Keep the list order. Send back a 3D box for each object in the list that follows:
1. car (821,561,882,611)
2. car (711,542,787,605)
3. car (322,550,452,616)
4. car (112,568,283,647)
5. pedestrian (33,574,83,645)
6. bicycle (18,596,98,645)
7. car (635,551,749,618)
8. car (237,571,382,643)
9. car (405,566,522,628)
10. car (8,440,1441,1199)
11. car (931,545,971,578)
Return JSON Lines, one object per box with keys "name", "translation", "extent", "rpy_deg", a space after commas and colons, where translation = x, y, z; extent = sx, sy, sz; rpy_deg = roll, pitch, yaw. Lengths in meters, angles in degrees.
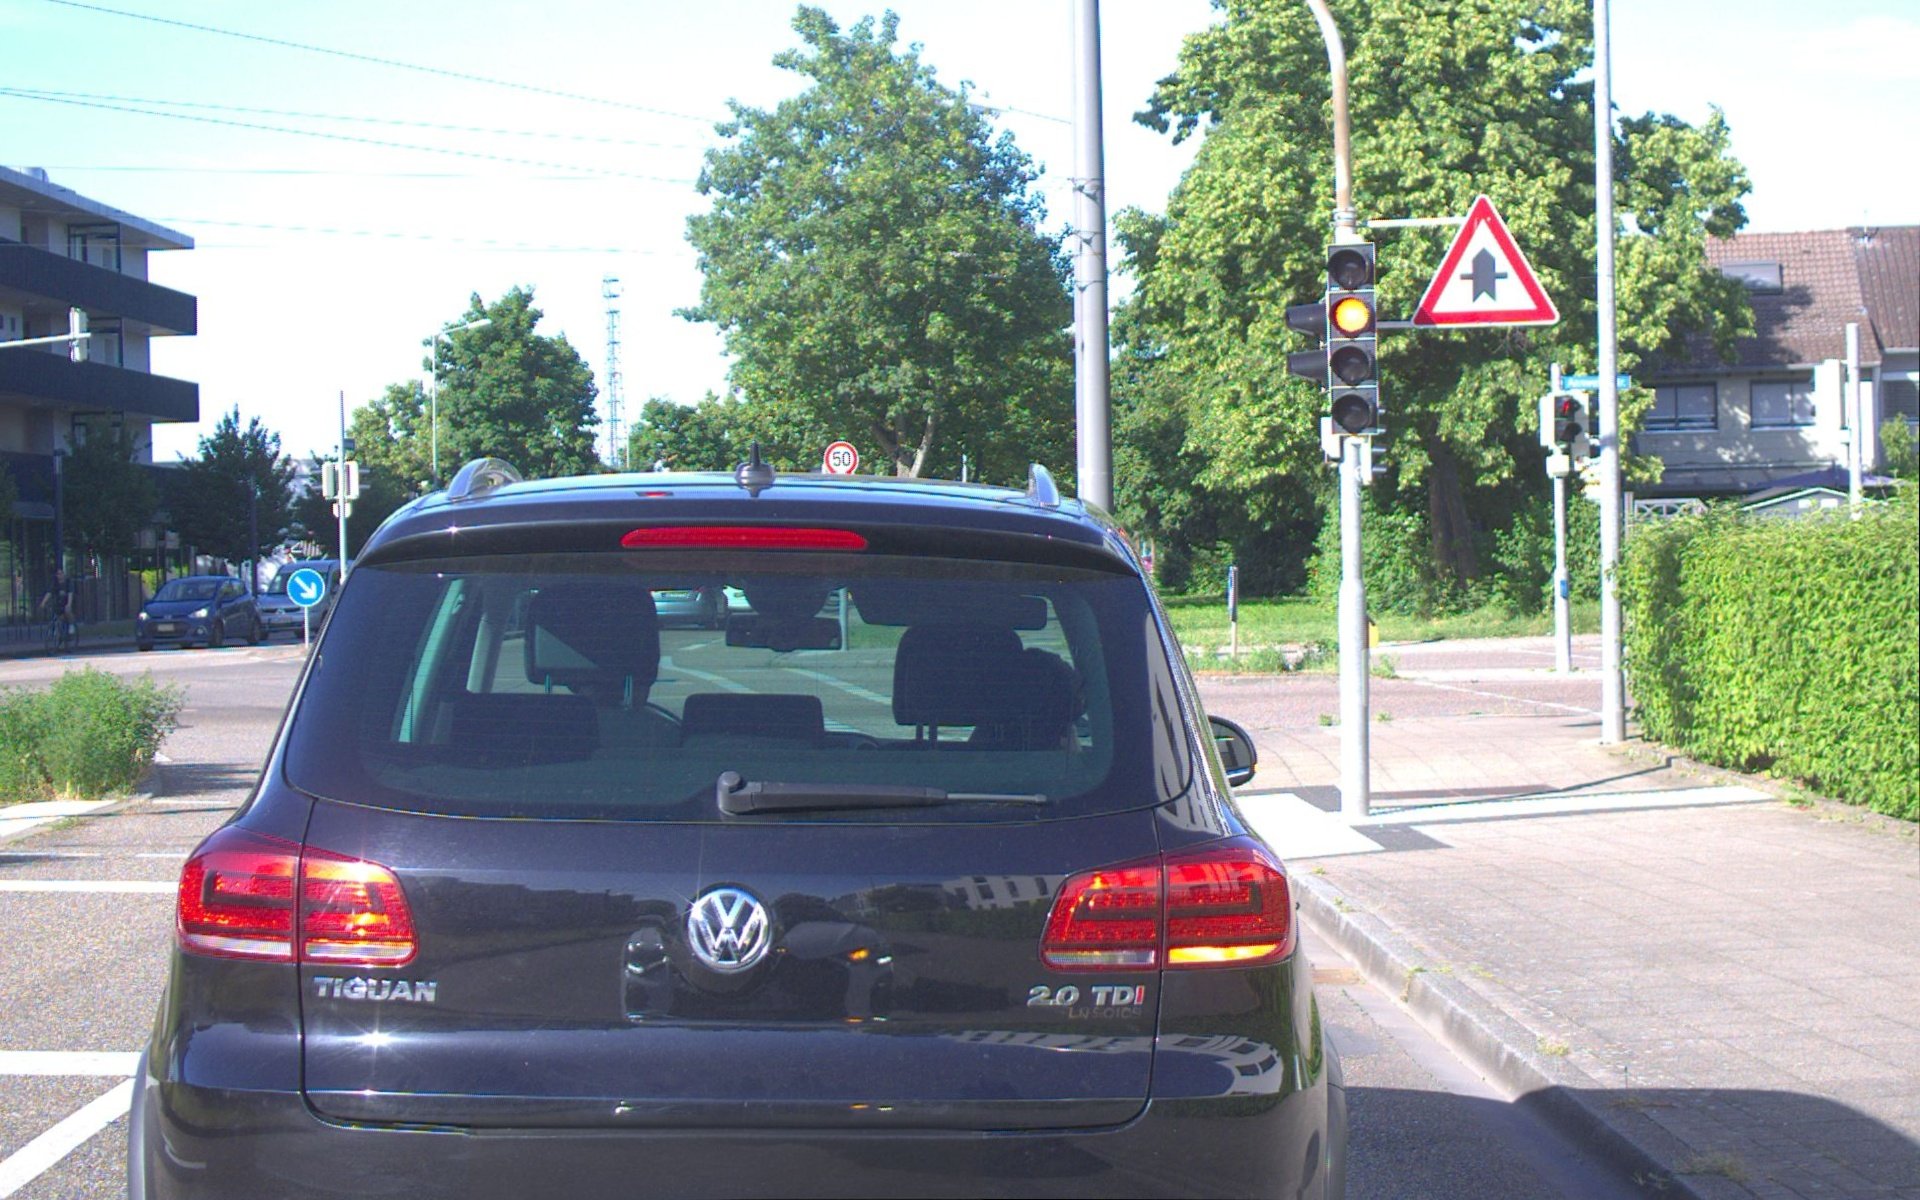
{"name": "car", "translation": [-4.075, -0.554, 129.653], "extent": [1.994, 1.830, 4.000], "rpy_deg": [1, 1, 3]}
{"name": "car", "translation": [-6.021, -0.773, 98.476], "extent": [1.864, 1.714, 3.687], "rpy_deg": [-1, 1, 1]}
{"name": "car", "translation": [-14.151, -0.433, 85.122], "extent": [1.994, 1.569, 4.338], "rpy_deg": [1, 1, 7]}
{"name": "car", "translation": [-15.793, 0.128, 71.462], "extent": [1.994, 1.569, 4.337], "rpy_deg": [1, 1, 9]}
{"name": "pedestrian", "translation": [-18.873, 0.199, 71.950], "extent": [0.711, 1.468, 0.953], "rpy_deg": [1, 0, 7]}
{"name": "bicycle", "translation": [-18.882, 0.421, 71.992], "extent": [0.771, 0.986, 2.431], "rpy_deg": [1, 1, 7]}
{"name": "car", "translation": [-6.249, -0.379, 80.652], "extent": [1.864, 1.480, 4.109], "rpy_deg": [-1, 1, 7]}
{"name": "car", "translation": [-14.832, 0.136, 78.616], "extent": [1.994, 1.569, 4.338], "rpy_deg": [1, 1, 7]}
{"name": "car", "translation": [-13.120, -0.104, 91.108], "extent": [1.994, 1.569, 4.338], "rpy_deg": [1, 1, 7]}
{"name": "car", "translation": [-0.335, 0.598, 6.519], "extent": [1.869, 1.632, 4.000], "rpy_deg": [1, 1, -1]}
{"name": "car", "translation": [-0.475, -2.025, 181.033], "extent": [1.993, 1.678, 4.000], "rpy_deg": [1, 1, -2]}
